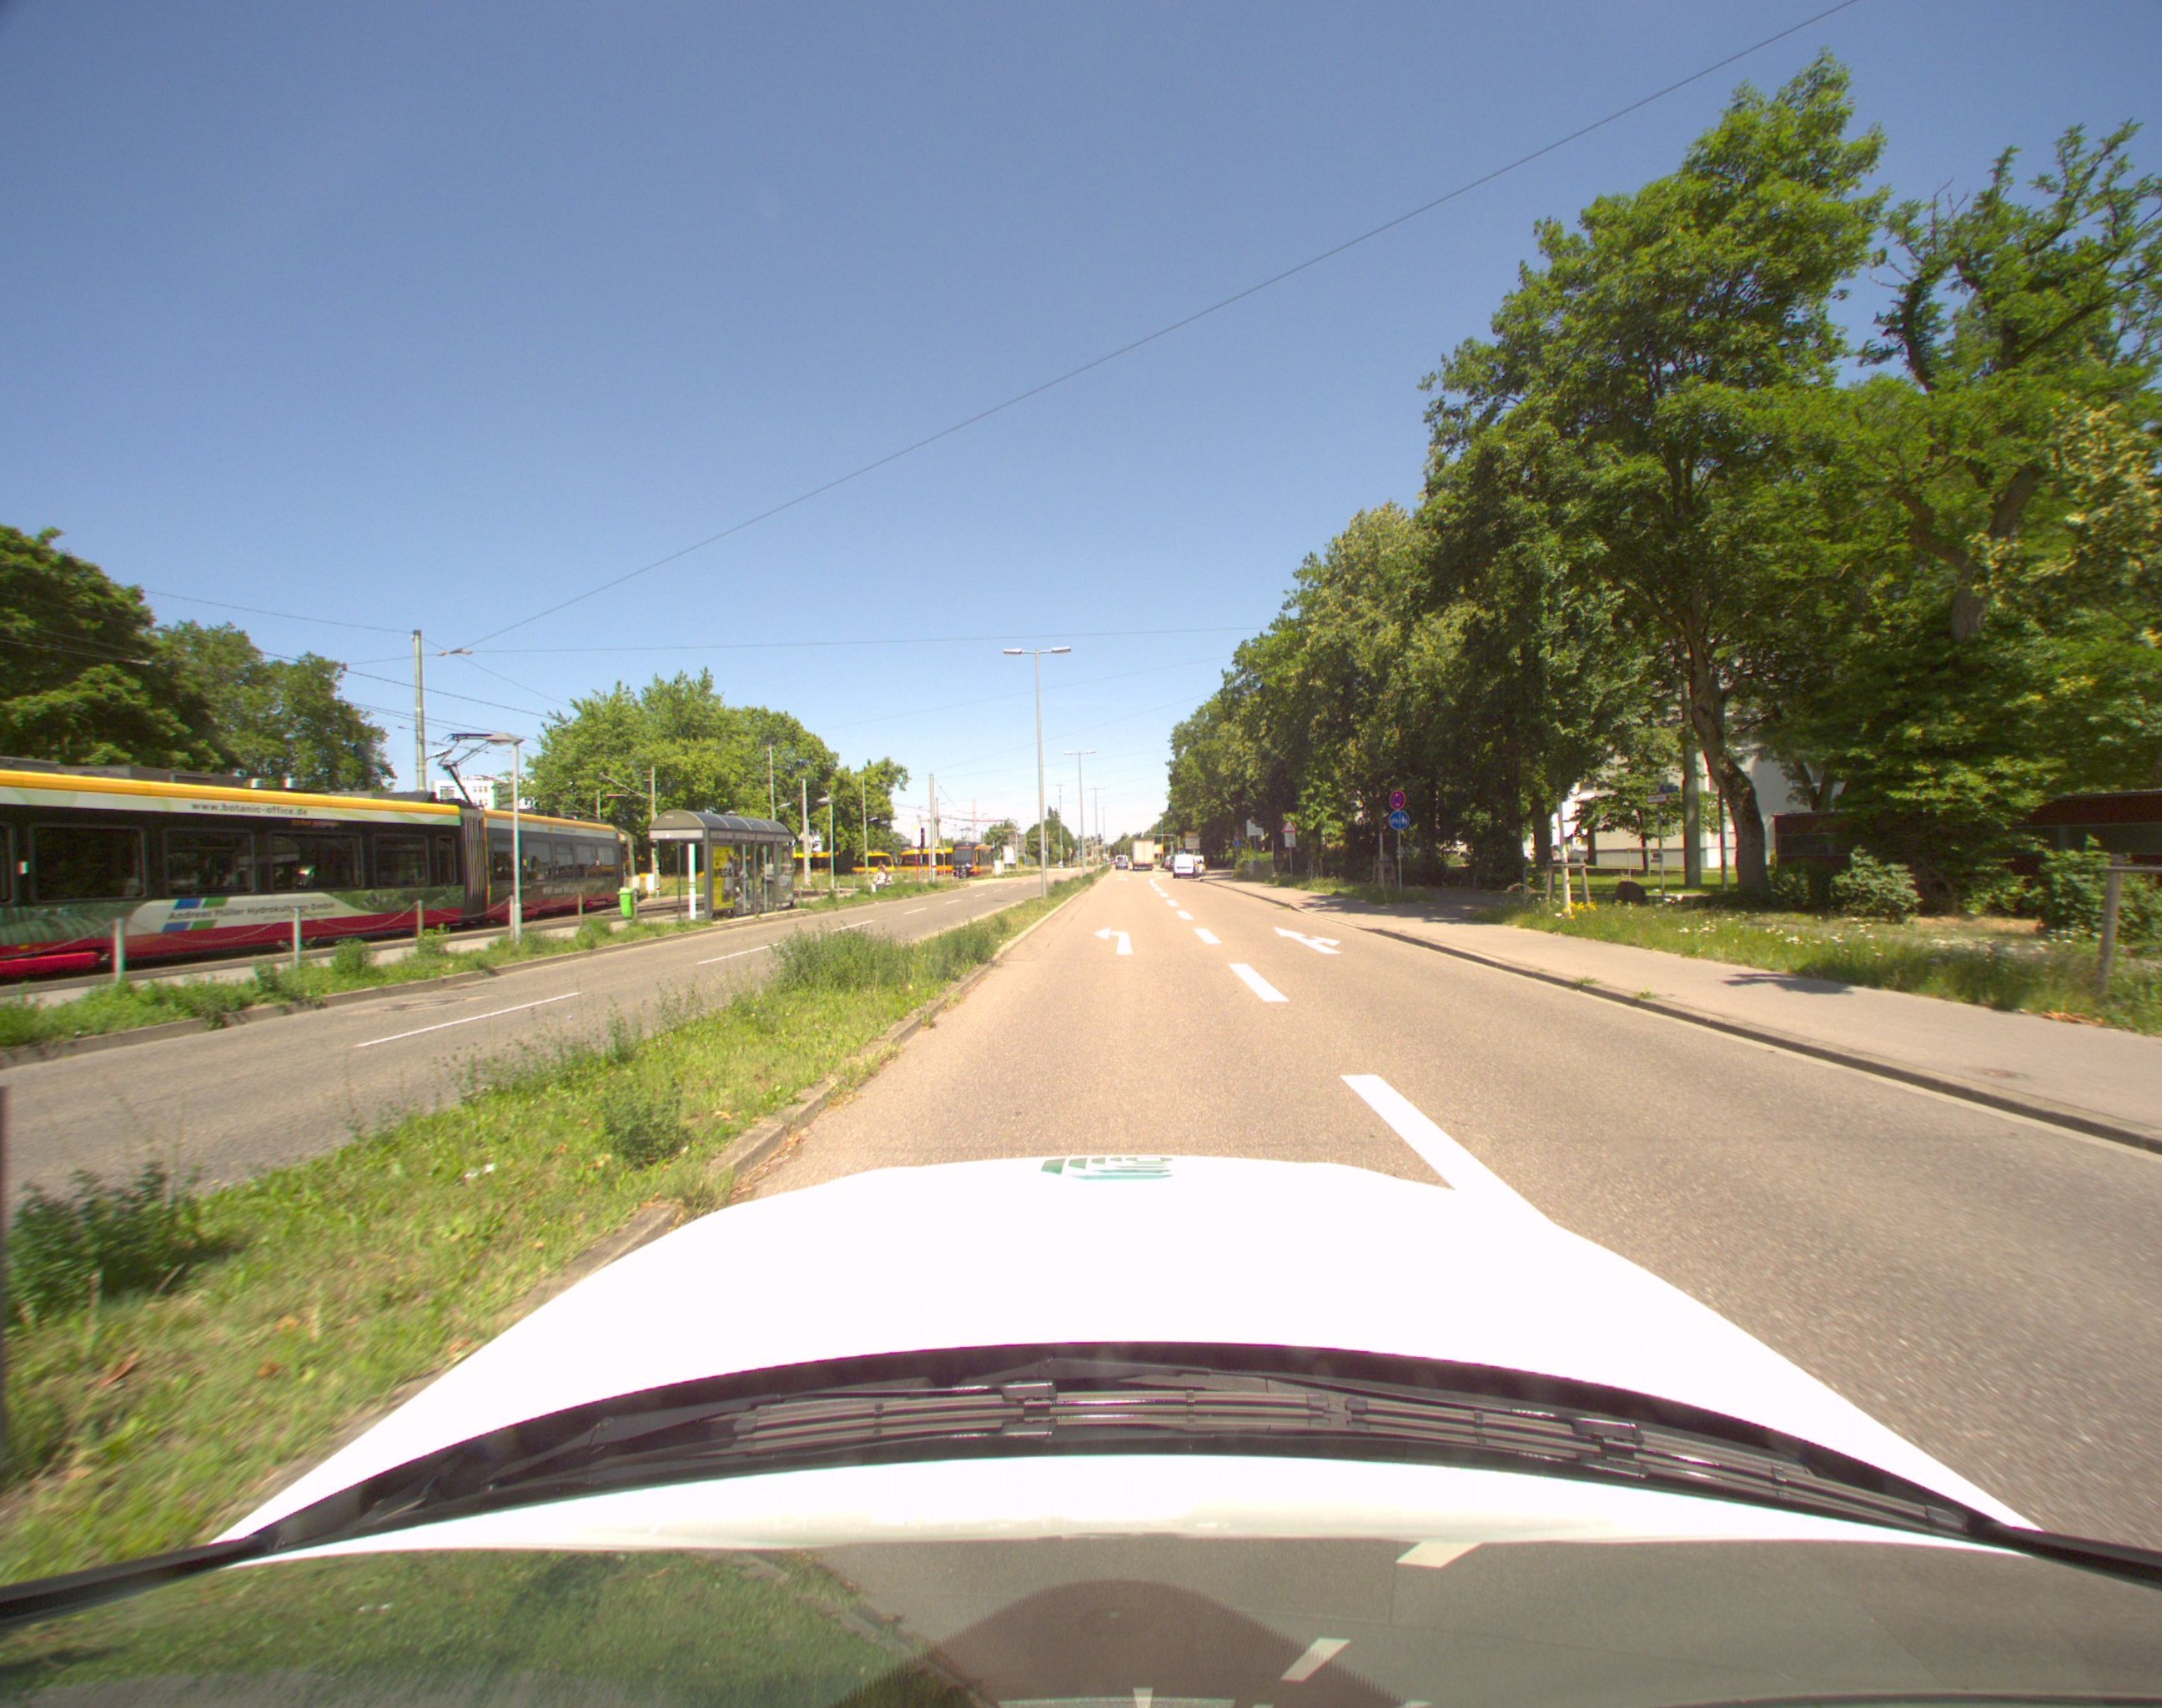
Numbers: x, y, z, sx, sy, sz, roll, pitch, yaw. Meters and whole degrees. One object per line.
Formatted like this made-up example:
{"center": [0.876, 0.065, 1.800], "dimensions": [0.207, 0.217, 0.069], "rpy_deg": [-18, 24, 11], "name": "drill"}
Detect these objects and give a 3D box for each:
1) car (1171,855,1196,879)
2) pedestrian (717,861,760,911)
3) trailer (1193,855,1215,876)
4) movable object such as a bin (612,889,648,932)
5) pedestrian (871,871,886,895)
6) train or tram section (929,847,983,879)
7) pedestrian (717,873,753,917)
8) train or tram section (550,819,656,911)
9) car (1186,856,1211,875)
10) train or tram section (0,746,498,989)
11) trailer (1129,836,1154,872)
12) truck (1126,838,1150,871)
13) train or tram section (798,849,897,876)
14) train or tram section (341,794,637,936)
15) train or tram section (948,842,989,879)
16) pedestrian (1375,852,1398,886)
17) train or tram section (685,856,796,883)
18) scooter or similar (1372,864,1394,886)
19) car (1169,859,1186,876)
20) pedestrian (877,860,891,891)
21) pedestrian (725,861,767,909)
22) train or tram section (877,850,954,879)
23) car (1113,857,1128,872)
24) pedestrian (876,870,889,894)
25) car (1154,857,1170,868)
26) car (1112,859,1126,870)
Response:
{"center": [7.780, 0.980, 61.839], "dimensions": [1.701, 1.747, 4.433], "rpy_deg": [0, 0, 5], "name": "car"}
{"center": [-10.676, 0.981, 25.425], "dimensions": [0.871, 1.546, 1.026], "rpy_deg": [0, 0, 0], "name": "pedestrian"}
{"center": [10.181, 0.930, 67.744], "dimensions": [1.463, 1.669, 2.857], "rpy_deg": [0, 0, 1], "name": "trailer"}
{"center": [-10.767, 1.334, 19.459], "dimensions": [0.480, 0.978, 0.645], "rpy_deg": [-1, -1, -2], "name": "movable object such as a bin"}
{"center": [-10.109, 1.462, 40.672], "dimensions": [0.578, 1.189, 0.537], "rpy_deg": [0, 0, 4], "name": "pedestrian"}
{"center": [-14.559, 1.009, 93.896], "dimensions": [3.054, 3.466, 10.131], "rpy_deg": [0, 0, -28], "name": "train or tram section"}
{"center": [-10.346, 1.209, 24.365], "dimensions": [0.698, 1.283, 0.840], "rpy_deg": [0, 0, 0], "name": "pedestrian"}
{"center": [-22.118, 0.452, 38.362], "dimensions": [3.058, 3.624, 12.350], "rpy_deg": [0, 0, -25], "name": "train or tram section"}
{"center": [10.299, 0.967, 71.374], "dimensions": [1.693, 1.654, 4.400], "rpy_deg": [0, 0, 2], "name": "car"}
{"center": [-17.589, 0.216, 15.333], "dimensions": [3.033, 3.624, 13.899], "rpy_deg": [0, 0, 1], "name": "train or tram section"}
{"center": [7.635, 0.038, 103.442], "dimensions": [2.817, 4.421, 8.751], "rpy_deg": [0, 0, 1], "name": "trailer"}
{"center": [7.817, -0.008, 112.029], "dimensions": [2.817, 4.344, 8.285], "rpy_deg": [1, 0, 1], "name": "truck"}
{"center": [-31.367, 1.130, 109.542], "dimensions": [12.633, 3.466, 3.054], "rpy_deg": [0, 0, 9], "name": "train or tram section"}
{"center": [-18.630, 0.296, 27.226], "dimensions": [3.045, 3.624, 12.403], "rpy_deg": [0, 0, -11], "name": "train or tram section"}
{"center": [-11.216, 0.602, 82.399], "dimensions": [3.030, 3.466, 13.274], "rpy_deg": [0, 0, -4], "name": "train or tram section"}
{"center": [12.743, 0.621, 33.955], "dimensions": [0.705, 1.398, 0.763], "rpy_deg": [0, 0, 4], "name": "pedestrian"}
{"center": [-44.755, 2.016, 107.706], "dimensions": [13.260, 3.466, 3.027], "rpy_deg": [0, 0, -19], "name": "train or tram section"}
{"center": [12.778, 0.875, 34.466], "dimensions": [0.705, 0.893, 0.763], "rpy_deg": [0, 0, 4], "name": "scooter or similar"}
{"center": [12.703, 1.757, 106.862], "dimensions": [1.884, 2.121, 3.888], "rpy_deg": [0, 0, 1], "name": "car"}
{"center": [-10.185, 1.101, 42.110], "dimensions": [0.532, 1.565, 0.583], "rpy_deg": [0, -1, 1], "name": "pedestrian"}
{"center": [-10.939, 1.008, 26.635], "dimensions": [0.927, 1.546, 0.985], "rpy_deg": [0, 0, 0], "name": "pedestrian"}
{"center": [-21.018, 1.223, 102.692], "dimensions": [12.592, 3.466, 3.064], "rpy_deg": [0, 0, 45], "name": "train or tram section"}
{"center": [5.836, 1.539, 121.534], "dimensions": [1.987, 2.111, 4.746], "rpy_deg": [-1, 0, -1], "name": "car"}
{"center": [-10.032, 1.429, 41.160], "dimensions": [0.492, 1.189, 0.401], "rpy_deg": [0, -1, 4], "name": "pedestrian"}
{"center": [11.539, 1.188, 116.316], "dimensions": [1.985, 1.437, 4.254], "rpy_deg": [-1, 0, 3], "name": "car"}
{"center": [5.331, 1.477, 114.674], "dimensions": [1.885, 1.372, 4.431], "rpy_deg": [1, -2, 2], "name": "car"}
